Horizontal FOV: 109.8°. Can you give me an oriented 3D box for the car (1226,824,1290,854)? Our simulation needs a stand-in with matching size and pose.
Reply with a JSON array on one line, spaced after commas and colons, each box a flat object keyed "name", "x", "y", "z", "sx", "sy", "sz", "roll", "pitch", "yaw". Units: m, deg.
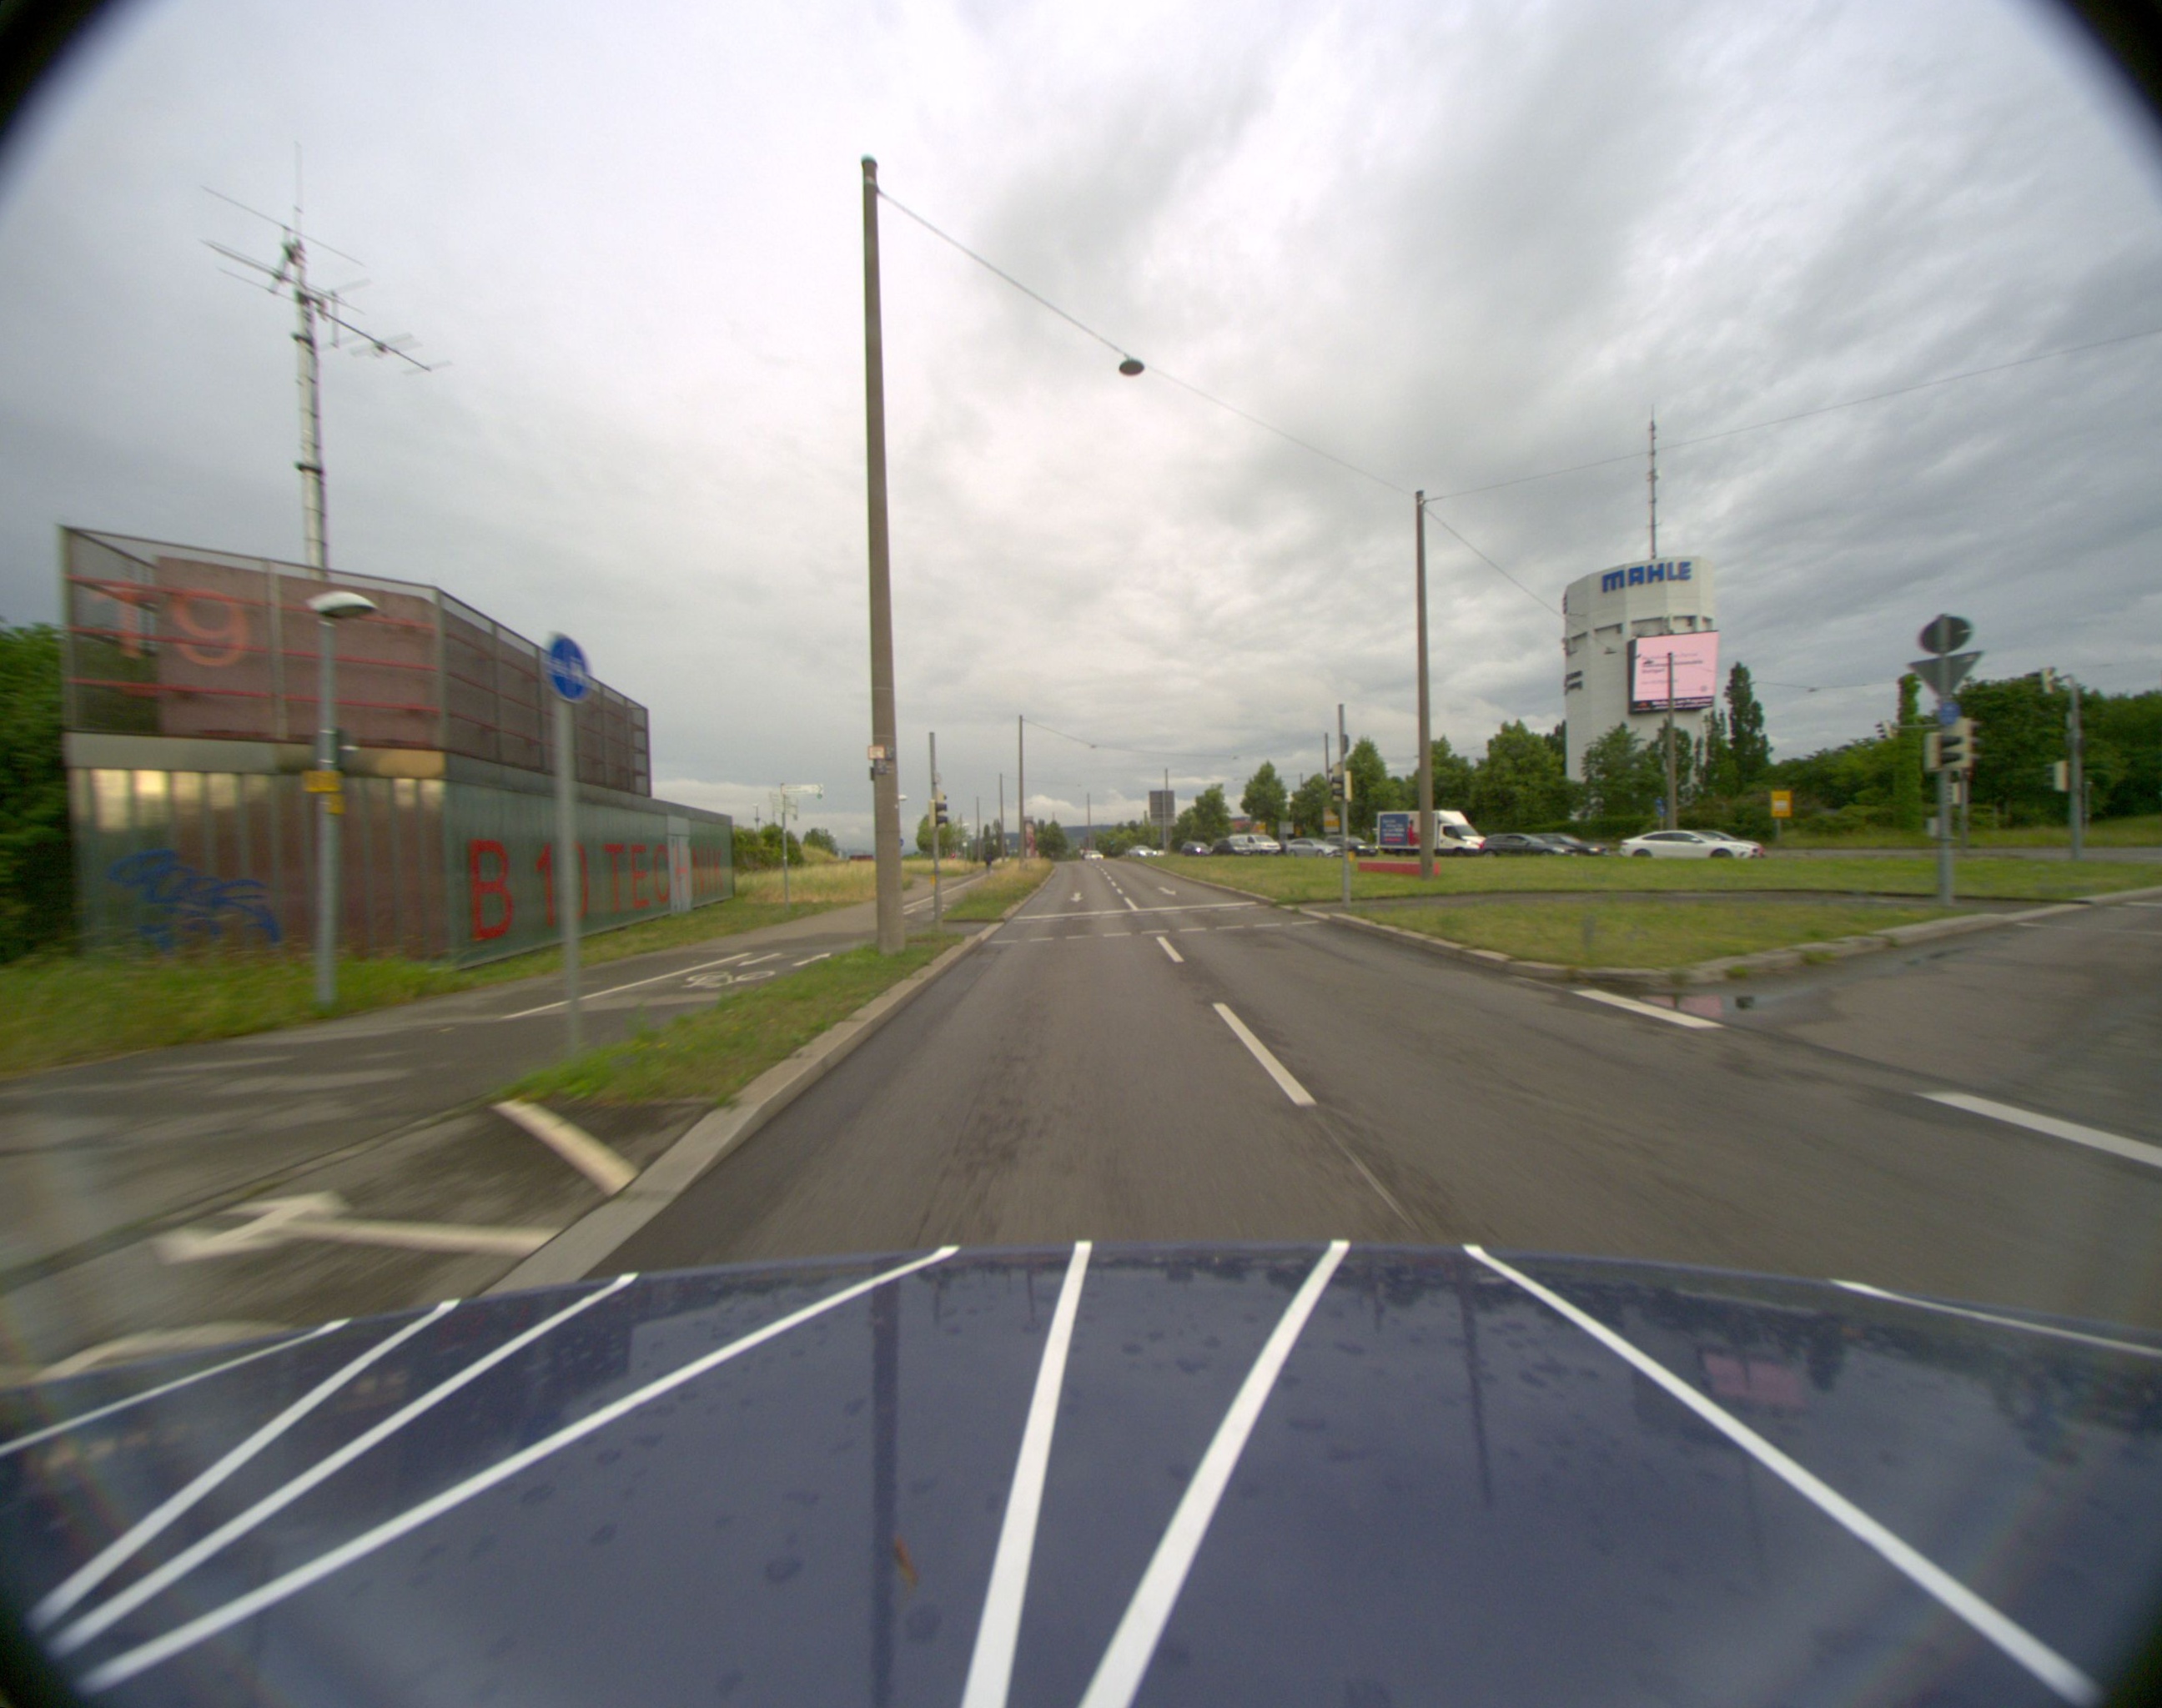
[{"name": "car", "x": 13.980, "y": -1.147, "z": 60.374, "sx": 2.376, "sy": 2.169, "sz": 5.299, "roll": -5, "pitch": 1, "yaw": -20}]

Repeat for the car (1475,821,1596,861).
[{"name": "car", "x": 21.651, "y": -0.575, "z": 36.394, "sx": 2.002, "sy": 1.673, "sz": 4.510, "roll": -5, "pitch": 2, "yaw": -30}]

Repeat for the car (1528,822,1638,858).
[{"name": "car", "x": 27.309, "y": -0.709, "z": 41.471, "sx": 2.003, "sy": 1.673, "sz": 4.510, "roll": -5, "pitch": 2, "yaw": -33}]

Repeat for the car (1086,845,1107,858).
[{"name": "car", "x": 2.393, "y": -0.428, "z": 116.112, "sx": 2.001, "sy": 1.773, "sz": 3.994, "roll": -5, "pitch": 1, "yaw": -17}]

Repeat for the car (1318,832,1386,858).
[{"name": "car", "x": 19.459, "y": -0.619, "z": 54.702, "sx": 2.002, "sy": 1.673, "sz": 4.512, "roll": -5, "pitch": 1, "yaw": -23}]

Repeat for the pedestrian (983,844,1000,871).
[{"name": "pedestrian", "x": -5.912, "y": 0.199, "z": 50.065, "sx": 0.800, "sy": 1.714, "sz": 0.988, "roll": -5, "pitch": 2, "yaw": -15}]

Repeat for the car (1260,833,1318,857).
[{"name": "car", "x": 16.640, "y": -0.694, "z": 61.056, "sx": 2.002, "sy": 1.673, "sz": 4.512, "roll": -5, "pitch": 1, "yaw": -23}]

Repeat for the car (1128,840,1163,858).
[{"name": "car", "x": 6.799, "y": -0.525, "z": 80.839, "sx": 2.001, "sy": 1.791, "sz": 5.163, "roll": -5, "pitch": 1, "yaw": -14}]

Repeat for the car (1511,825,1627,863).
[{"name": "car", "x": 24.840, "y": -0.472, "z": 38.824, "sx": 2.003, "sy": 1.673, "sz": 4.510, "roll": -5, "pitch": 2, "yaw": -33}]

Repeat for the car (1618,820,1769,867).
[{"name": "car", "x": 25.549, "y": -0.402, "z": 31.826, "sx": 2.003, "sy": 1.673, "sz": 4.509, "roll": -5, "pitch": 2, "yaw": -36}]

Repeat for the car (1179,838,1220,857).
[{"name": "car", "x": 11.892, "y": -0.627, "z": 76.545, "sx": 2.001, "sy": 1.673, "sz": 4.513, "roll": -5, "pitch": 1, "yaw": -19}]

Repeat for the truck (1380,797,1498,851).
[{"name": "truck", "x": 21.099, "y": -1.712, "z": 45.088, "sx": 2.133, "sy": 2.819, "sz": 6.017, "roll": -5, "pitch": 2, "yaw": -32}]

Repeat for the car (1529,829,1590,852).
[{"name": "car", "x": 41.512, "y": -1.161, "z": 65.999, "sx": 1.820, "sy": 1.807, "sz": 3.992, "roll": -5, "pitch": 2, "yaw": -27}]

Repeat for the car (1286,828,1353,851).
[{"name": "car", "x": 16.730, "y": -0.996, "z": 53.567, "sx": 2.002, "sy": 1.303, "sz": 4.522, "roll": -5, "pitch": 1, "yaw": -23}]

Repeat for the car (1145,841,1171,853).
[{"name": "car", "x": 11.935, "y": -1.043, "z": 118.283, "sx": 2.002, "sy": 1.652, "sz": 3.991, "roll": -5, "pitch": 2, "yaw": -28}]

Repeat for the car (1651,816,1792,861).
[{"name": "car", "x": 28.626, "y": -0.671, "z": 34.068, "sx": 2.003, "sy": 1.673, "sz": 4.509, "roll": -5, "pitch": 2, "yaw": -40}]

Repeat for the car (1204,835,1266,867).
[{"name": "car", "x": 11.581, "y": -0.192, "z": 57.517, "sx": 2.001, "sy": 2.169, "sz": 5.161, "roll": -5, "pitch": 1, "yaw": -20}]

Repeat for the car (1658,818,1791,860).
[{"name": "car", "x": 30.636, "y": -0.687, "z": 36.277, "sx": 2.003, "sy": 1.673, "sz": 4.509, "roll": -5, "pitch": 2, "yaw": -39}]

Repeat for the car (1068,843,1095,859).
[{"name": "car", "x": 0.043, "y": -0.409, "z": 96.901, "sx": 2.001, "sy": 1.791, "sz": 5.163, "roll": -5, "pitch": 1, "yaw": -14}]
